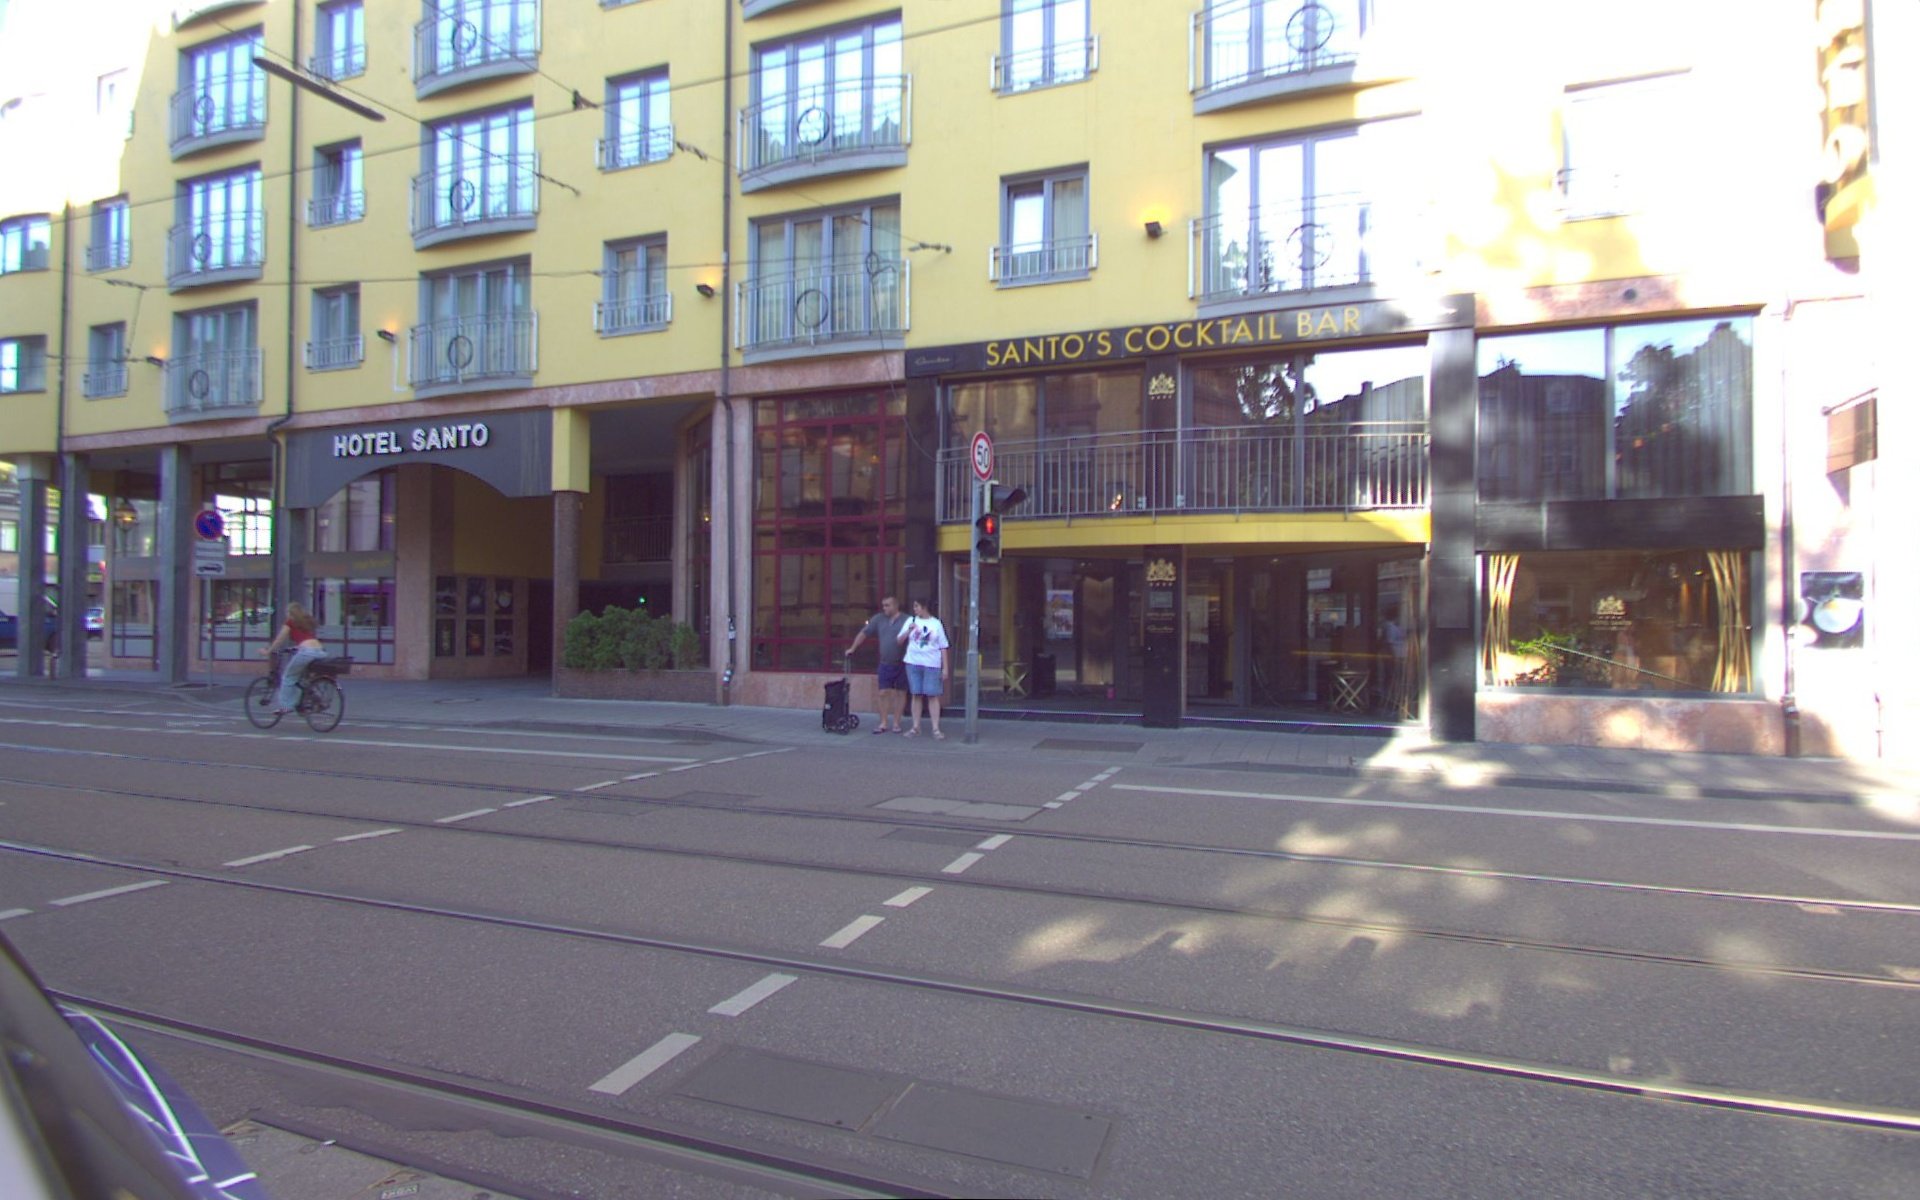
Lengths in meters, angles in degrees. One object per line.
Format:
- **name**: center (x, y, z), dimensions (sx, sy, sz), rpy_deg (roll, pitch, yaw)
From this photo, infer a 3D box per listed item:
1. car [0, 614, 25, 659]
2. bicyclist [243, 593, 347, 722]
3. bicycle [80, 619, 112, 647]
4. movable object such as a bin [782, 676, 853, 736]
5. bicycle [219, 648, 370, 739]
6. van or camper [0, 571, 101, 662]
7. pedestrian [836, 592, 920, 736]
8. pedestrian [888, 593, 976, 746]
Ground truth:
- **car**: center (-33.498, 1.182, 32.641), dimensions (1.866, 1.487, 4.570), rpy_deg (-1, -2, 21)
- **bicyclist**: center (-8.881, 0.748, 13.526), dimensions (0.983, 1.656, 0.699), rpy_deg (0, -2, 20)
- **bicycle**: center (-37.846, 1.446, 44.324), dimensions (1.823, 1.196, 0.428), rpy_deg (-1, -2, 29)
- **movable object such as a bin**: center (-1.895, 1.404, 13.456), dimensions (0.835, 0.721, 0.381), rpy_deg (-1, 3, 23)
- **bicycle**: center (-8.880, 1.220, 13.500), dimensions (1.884, 1.117, 0.694), rpy_deg (0, -2, 20)
- **van or camper**: center (-30.995, 0.535, 31.857), dimensions (2.299, 2.849, 5.583), rpy_deg (-1, -2, 22)
- **pedestrian**: center (-1.067, 0.817, 13.282), dimensions (0.795, 1.784, 0.744), rpy_deg (-1, 3, 23)
- **pedestrian**: center (-0.340, 0.856, 13.011), dimensions (0.748, 1.832, 1.039), rpy_deg (-1, 3, 20)
